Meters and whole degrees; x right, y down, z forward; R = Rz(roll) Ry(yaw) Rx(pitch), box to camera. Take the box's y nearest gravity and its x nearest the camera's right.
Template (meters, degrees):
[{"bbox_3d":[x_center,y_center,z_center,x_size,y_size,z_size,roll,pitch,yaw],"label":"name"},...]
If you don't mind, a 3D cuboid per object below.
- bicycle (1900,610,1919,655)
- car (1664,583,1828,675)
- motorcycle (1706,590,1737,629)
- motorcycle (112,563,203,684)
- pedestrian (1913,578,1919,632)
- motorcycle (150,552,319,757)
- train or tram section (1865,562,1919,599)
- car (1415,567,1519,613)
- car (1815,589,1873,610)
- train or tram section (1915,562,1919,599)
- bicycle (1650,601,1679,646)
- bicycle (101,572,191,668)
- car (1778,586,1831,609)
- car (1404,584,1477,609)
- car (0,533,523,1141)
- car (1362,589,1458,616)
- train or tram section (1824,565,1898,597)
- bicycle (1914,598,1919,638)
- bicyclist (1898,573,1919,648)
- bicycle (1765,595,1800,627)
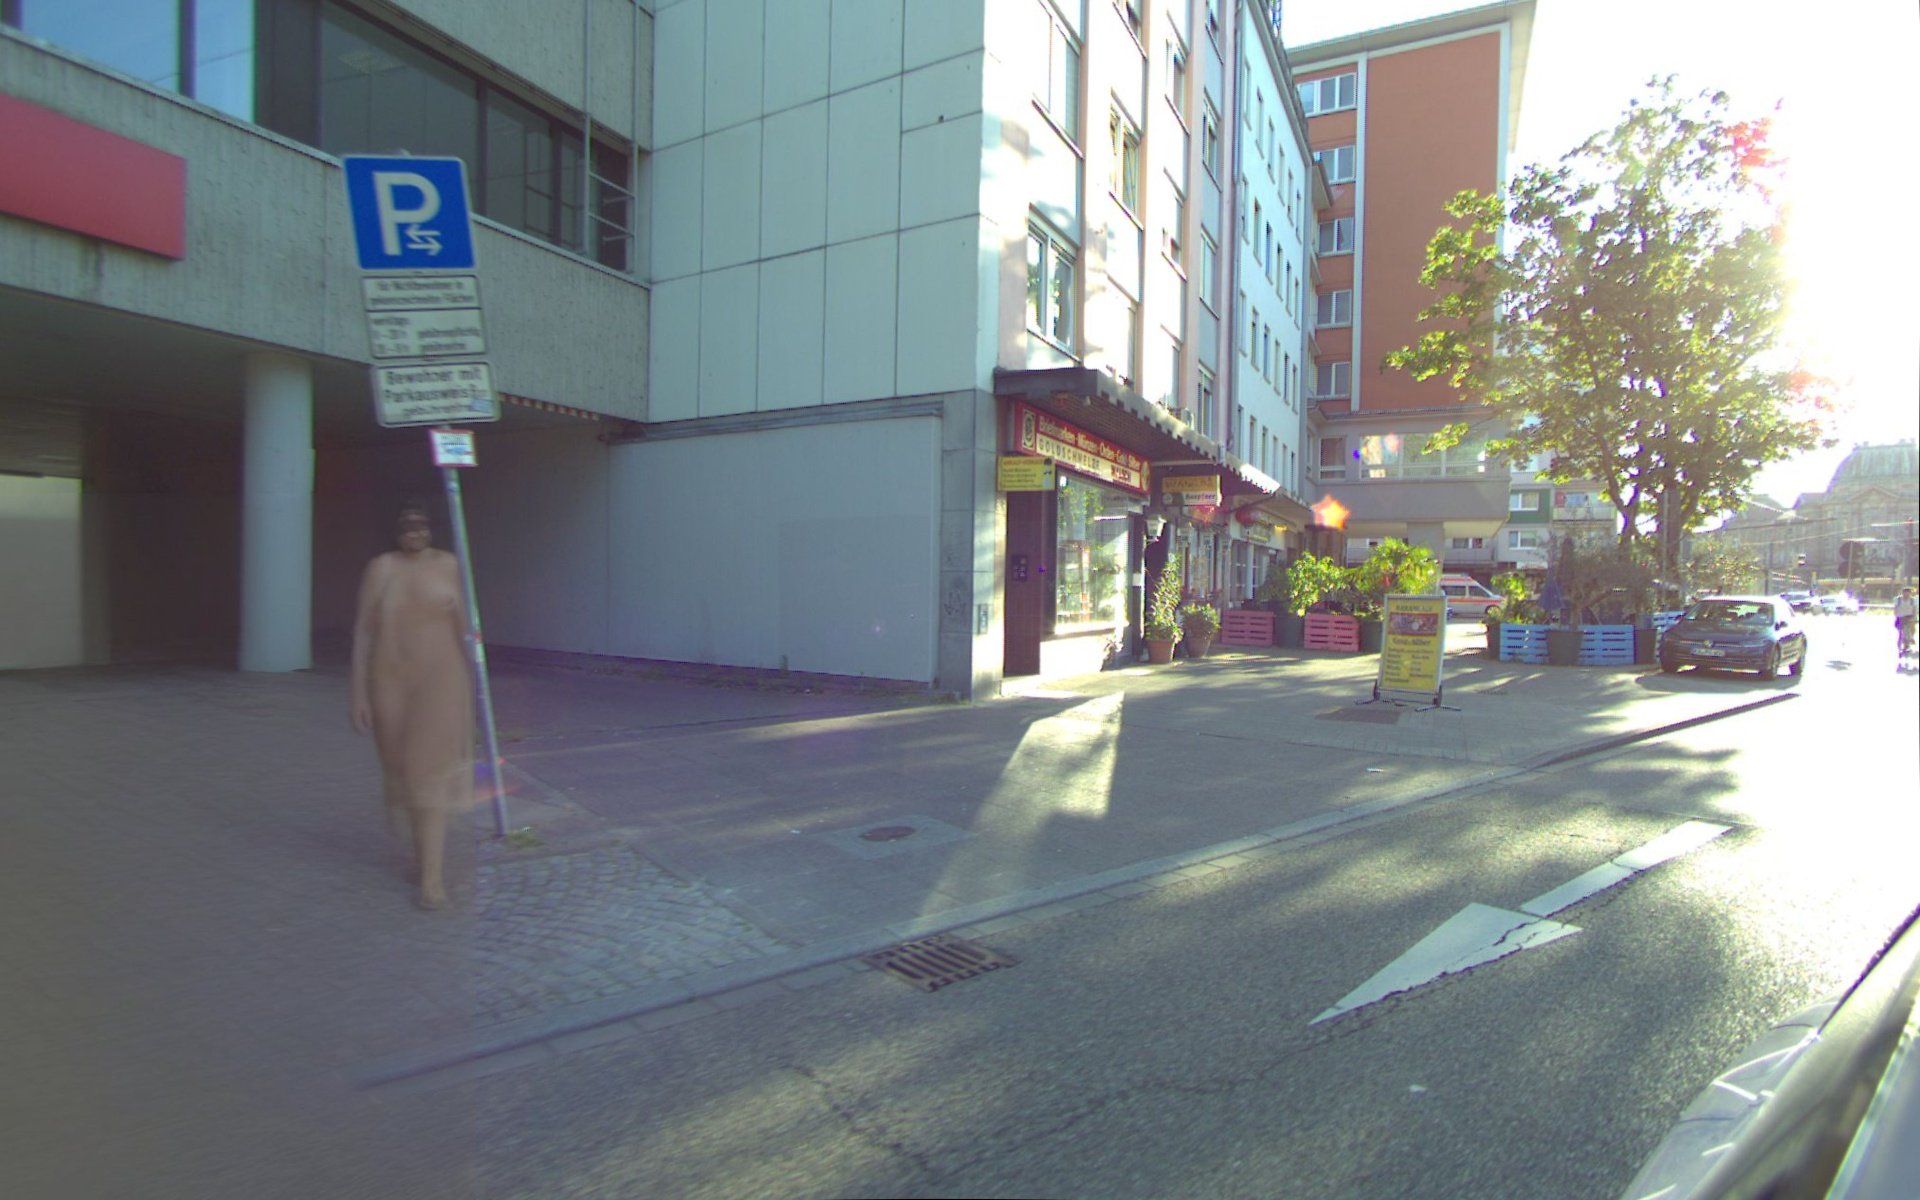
[{"bbox_3d":[23.625,0.791,24.968,0.575,1.041,1.829,1,0,41],"label":"bicycle"},{"bbox_3d":[15.024,0.483,19.283,3.832,1.490,1.731,0,4,-42],"label":"car"},{"bbox_3d":[25.763,0.301,34.257,0.663,1.258,2.175,1,1,33],"label":"motorcycle"},{"bbox_3d":[-8.832,0.218,11.193,0.519,1.220,2.022,0,1,-31],"label":"motorcycle"},{"bbox_3d":[29.878,0.154,31.217,0.637,1.669,0.831,0,0,39],"label":"pedestrian"},{"bbox_3d":[-5.502,0.339,7.631,1.780,1.347,0.575,4,2,39],"label":"motorcycle"},{"bbox_3d":[98.292,-1.965,105.115,2.754,3.580,13.135,1,1,25],"label":"train or tram section"},{"bbox_3d":[28.941,-0.580,57.876,5.216,2.513,1.908,1,1,27],"label":"car"},{"bbox_3d":[64.784,-0.044,74.219,1.823,1.418,4.547,-2,0,23],"label":"car"},{"bbox_3d":[93.230,-1.832,94.453,2.754,3.580,10.478,1,1,26],"label":"train or tram section"},{"bbox_3d":[19.102,0.619,27.474,0.418,1.172,1.738,1,0,28],"label":"bicycle"},{"bbox_3d":[-10.444,0.225,12.962,1.860,1.087,0.477,4,2,38],"label":"bicycle"},{"bbox_3d":[67.778,-0.228,81.329,1.935,1.734,4.813,-2,0,23],"label":"car"},{"bbox_3d":[29.103,-0.207,61.314,3.962,1.393,1.789,1,2,28],"label":"car"},{"bbox_3d":[-3.674,0.588,2.841,4.158,1.575,1.787,0,3,-39],"label":"car"},{"bbox_3d":[24.361,0.110,54.780,4.635,1.358,1.821,1,1,29],"label":"car"},{"bbox_3d":[103.913,-2.157,116.969,2.754,3.580,13.135,1,1,25],"label":"train or tram section"},{"bbox_3d":[29.838,0.558,31.130,0.527,1.173,1.824,-1,1,38],"label":"bicycle"},{"bbox_3d":[23.602,0.251,24.924,0.673,1.830,0.979,1,1,41],"label":"bicyclist"},{"bbox_3d":[30.341,0.409,37.339,0.641,1.141,1.855,1,0,28],"label":"bicycle"}]
